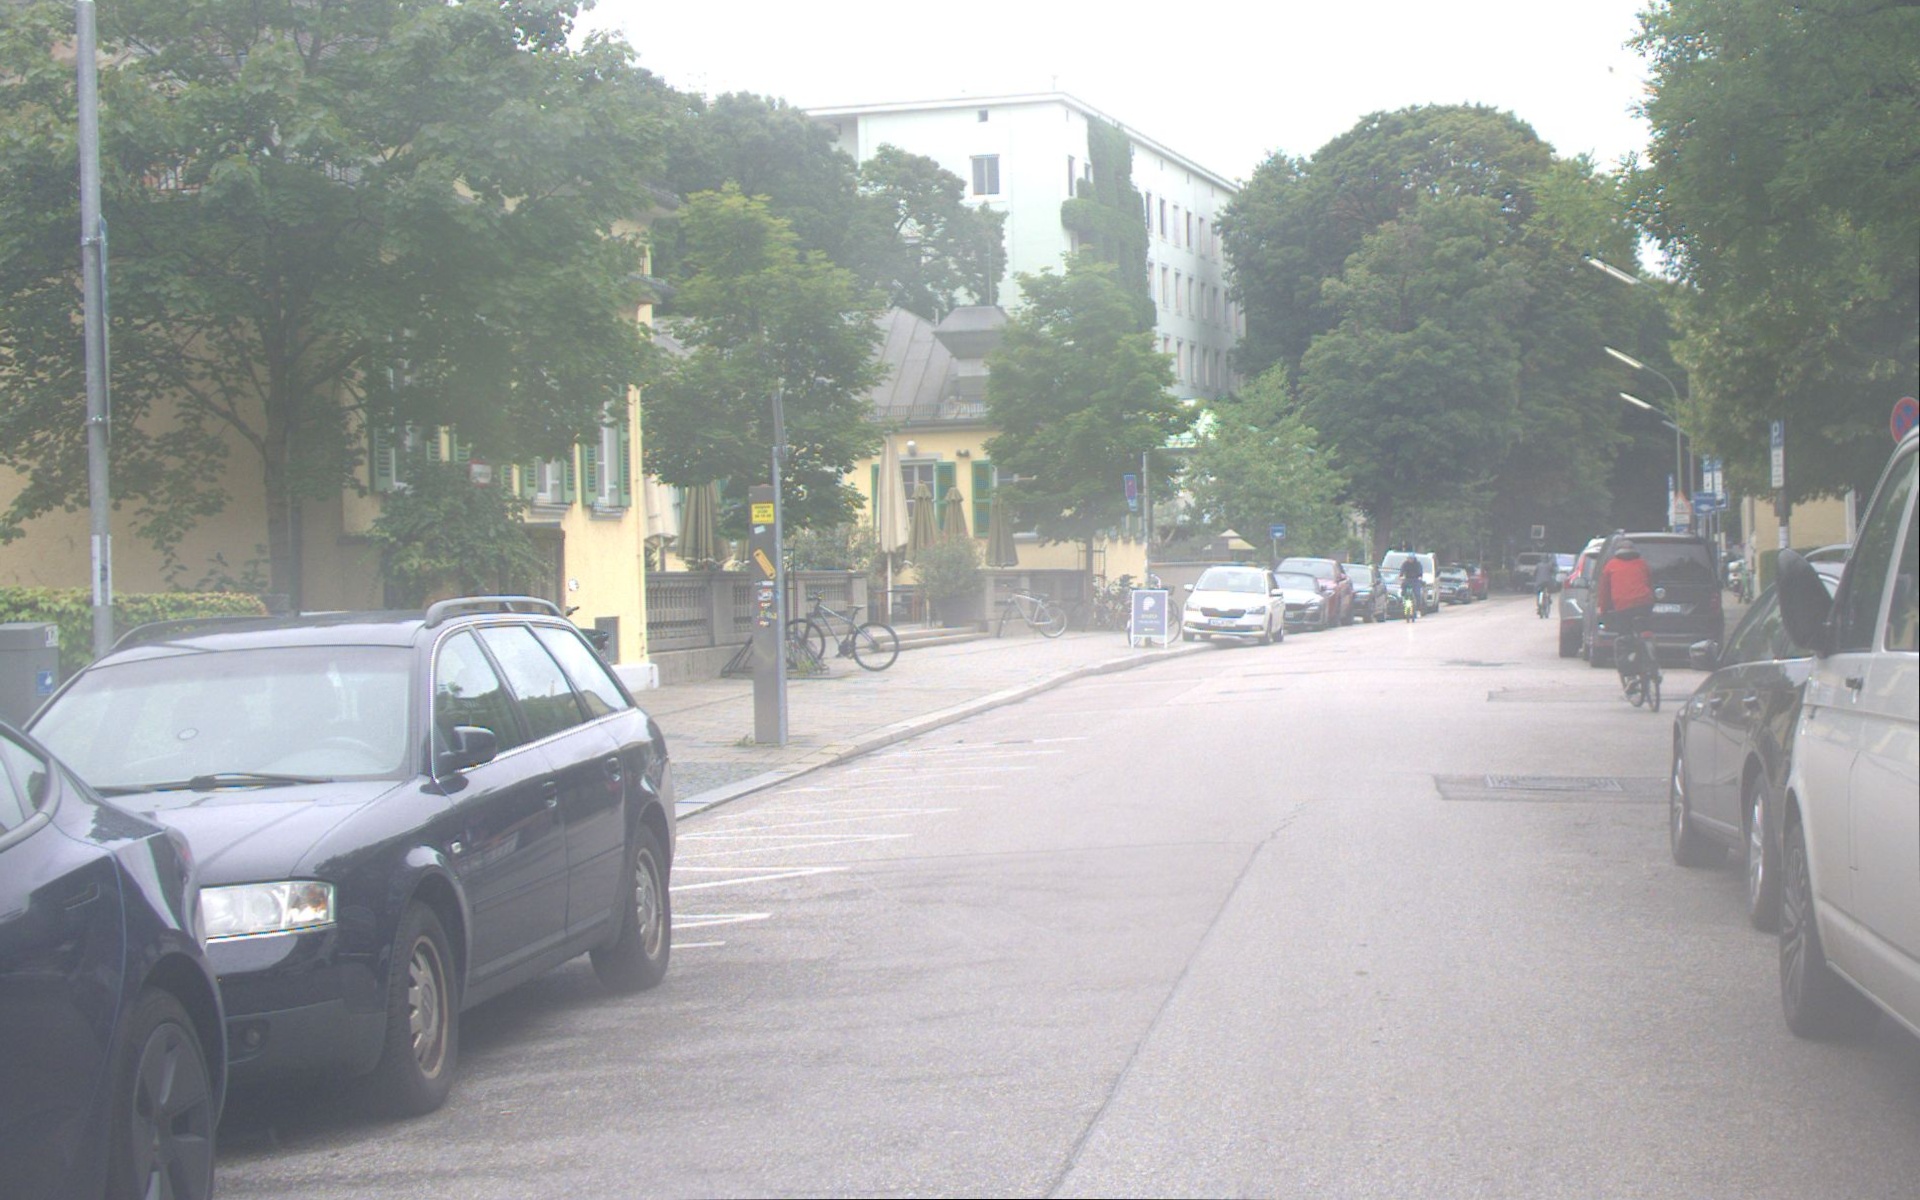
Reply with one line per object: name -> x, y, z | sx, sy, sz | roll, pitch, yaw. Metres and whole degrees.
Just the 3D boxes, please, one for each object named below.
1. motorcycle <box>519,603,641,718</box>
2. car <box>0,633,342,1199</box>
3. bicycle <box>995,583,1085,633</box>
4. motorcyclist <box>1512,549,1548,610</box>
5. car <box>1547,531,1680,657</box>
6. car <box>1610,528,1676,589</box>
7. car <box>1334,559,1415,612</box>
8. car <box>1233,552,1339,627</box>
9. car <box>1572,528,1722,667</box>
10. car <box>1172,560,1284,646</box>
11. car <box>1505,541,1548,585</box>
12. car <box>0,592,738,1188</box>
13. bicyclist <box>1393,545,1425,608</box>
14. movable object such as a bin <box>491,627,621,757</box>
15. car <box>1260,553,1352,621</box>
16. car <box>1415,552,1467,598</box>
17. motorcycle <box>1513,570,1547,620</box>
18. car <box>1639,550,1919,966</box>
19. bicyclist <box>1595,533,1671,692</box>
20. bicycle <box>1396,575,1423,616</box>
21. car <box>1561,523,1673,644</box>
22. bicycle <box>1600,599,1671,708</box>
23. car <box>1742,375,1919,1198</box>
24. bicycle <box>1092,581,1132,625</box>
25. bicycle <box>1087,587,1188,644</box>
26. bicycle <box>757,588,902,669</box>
motorcycle -> -3.833, 0.594, 34.535 | 0.557, 1.097, 1.838 | 0, 1, -29
car -> -2.797, 0.862, 6.278 | 1.923, 1.434, 4.917 | -3, 0, 6
bicycle -> 1.570, 0.160, 67.243 | 1.613, 0.922, 0.651 | -1, -1, -16
motorcyclist -> 14.449, -0.517, 87.121 | 0.792, 1.505, 1.147 | -1, 0, 13
car -> 9.869, -0.125, 52.015 | 1.864, 1.788, 4.508 | -1, 1, 10
car -> 23.786, -1.453, 119.835 | 1.994, 2.053, 4.622 | -1, 1, 8
car -> 12.297, -0.442, 101.786 | 1.994, 1.481, 3.998 | -1, 1, 12
car -> 7.553, -0.257, 79.308 | 1.994, 1.643, 4.653 | -1, 1, 10
car -> 9.391, -0.064, 47.211 | 1.761, 1.817, 4.138 | 0, 1, 8
car -> 5.239, 0.030, 66.928 | 1.734, 1.576, 3.786 | 2, 1, 11
car -> 27.901, -1.819, 169.255 | 1.994, 2.091, 3.998 | 2, 1, 10
car -> -2.272, 0.786, 11.516 | 1.994, 1.486, 4.882 | -3, 0, 9
bicyclist -> 11.344, -0.602, 86.908 | 0.743, 1.570, 0.977 | -1, 1, 7
movable object such as a bin -> -3.459, 0.779, 29.481 | 0.935, 1.060, 0.840 | -1, 1, 5
car -> 8.490, -0.294, 84.192 | 1.994, 1.597, 3.998 | -1, 0, 9
car -> 18.541, -0.976, 132.539 | 1.811, 1.677, 3.998 | -1, 1, 10
motorcycle -> 14.447, -0.133, 87.103 | 0.660, 1.202, 2.241 | -1, 1, 13
car -> 4.107, 0.545, 14.817 | 1.771, 1.485, 4.973 | 1, 1, 5
bicyclist -> 6.479, 0.123, 33.108 | 0.672, 1.492, 1.094 | -1, -1, 11
bicycle -> 11.354, -0.113, 86.817 | 0.621, 1.001, 2.139 | -1, 1, 7
car -> 11.121, -0.296, 58.101 | 1.750, 1.936, 4.225 | -1, 1, 11
bicycle -> 6.484, 0.512, 33.073 | 0.622, 1.001, 2.139 | -2, -1, 10
car -> 3.287, 0.436, 8.891 | 1.845, 1.926, 5.271 | 2, 1, 6
bicycle -> 3.503, 0.082, 79.023 | 0.622, 1.001, 1.618 | -1, -1, 14
bicycle -> 3.242, 0.270, 62.661 | 0.623, 1.001, 2.135 | 2, 2, 41
bicycle -> -1.830, 0.396, 48.354 | 1.931, 1.095, 0.614 | 1, 1, 11
